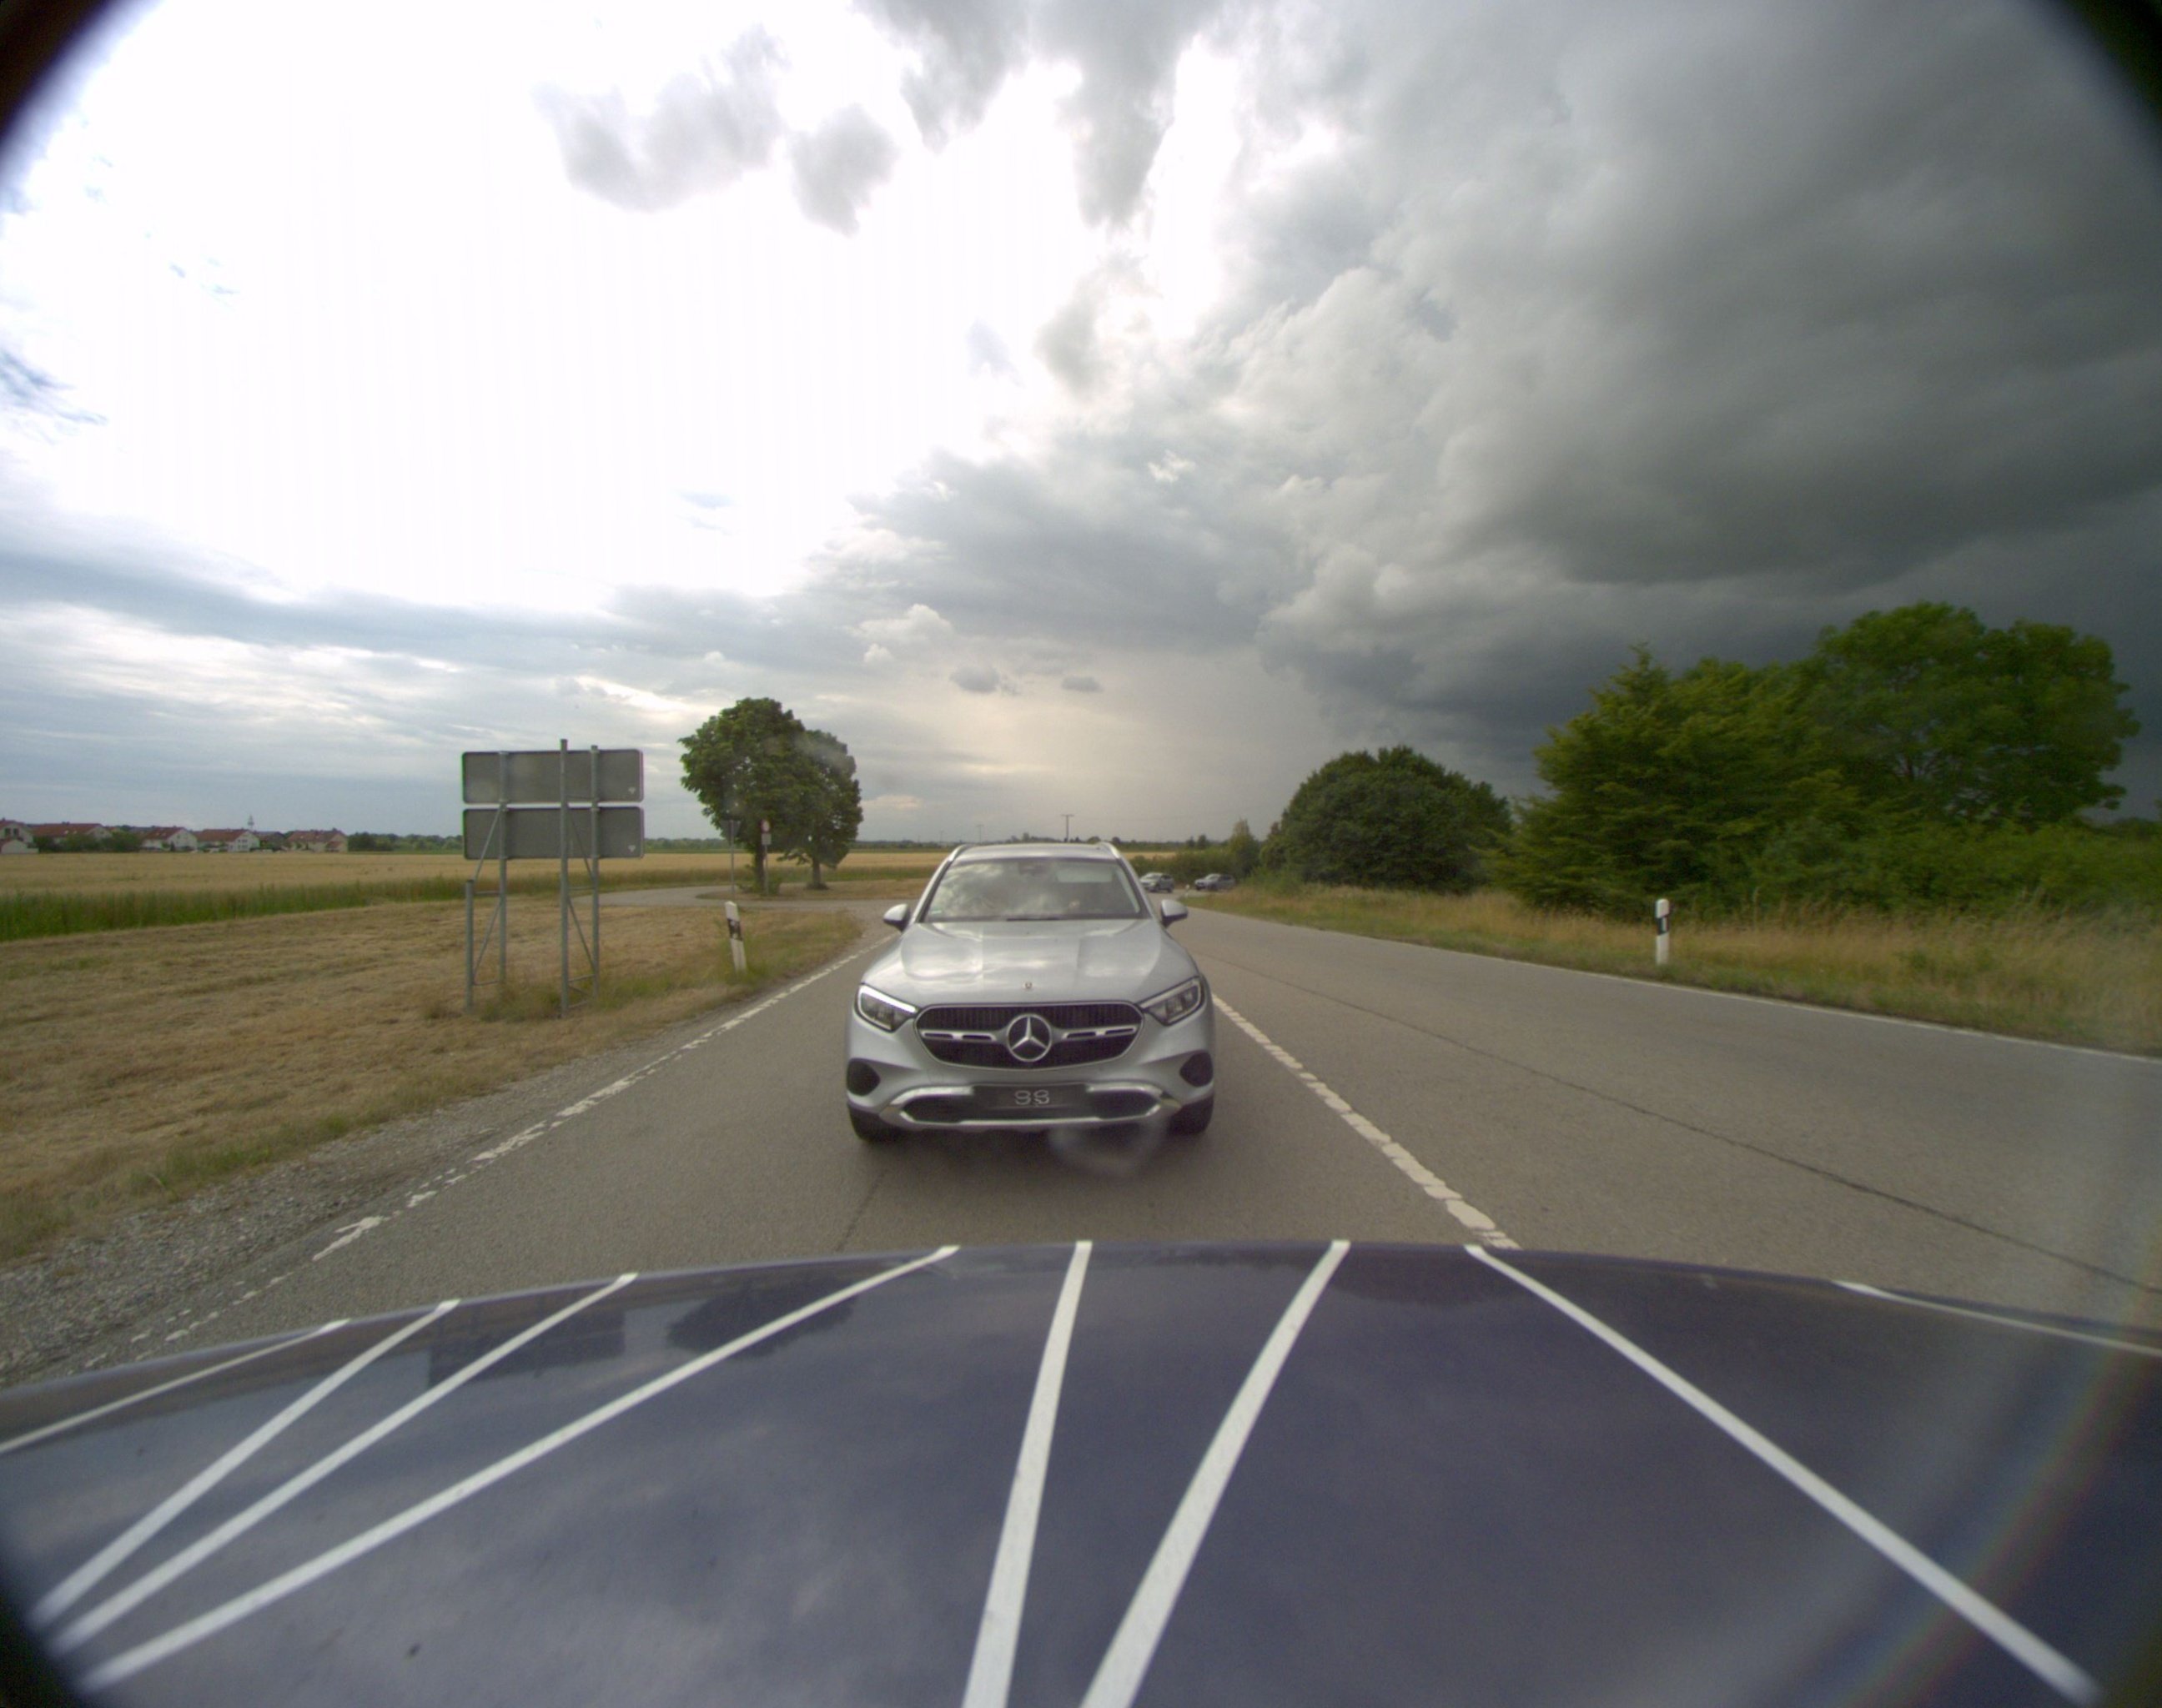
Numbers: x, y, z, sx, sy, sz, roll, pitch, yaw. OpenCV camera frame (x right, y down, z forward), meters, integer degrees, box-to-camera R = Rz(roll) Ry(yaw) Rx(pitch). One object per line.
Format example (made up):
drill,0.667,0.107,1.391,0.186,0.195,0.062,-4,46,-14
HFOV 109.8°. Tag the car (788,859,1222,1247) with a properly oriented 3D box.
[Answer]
car,-0.394,0.870,5.508,1.837,1.577,4.449,-1,0,-2

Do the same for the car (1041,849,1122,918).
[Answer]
car,-0.119,0.865,22.852,1.999,1.709,5.208,4,-2,-4

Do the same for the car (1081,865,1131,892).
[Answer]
car,1.919,1.786,55.845,1.995,1.709,5.218,3,0,21

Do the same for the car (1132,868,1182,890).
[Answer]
car,6.499,2.127,64.349,1.994,1.709,5.221,3,0,31

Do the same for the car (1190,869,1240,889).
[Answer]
car,12.896,2.408,73.051,5.220,1.710,1.994,0,2,-44

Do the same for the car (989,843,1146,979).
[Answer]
car,-0.153,0.772,12.406,1.998,1.709,5.209,1,-1,0
